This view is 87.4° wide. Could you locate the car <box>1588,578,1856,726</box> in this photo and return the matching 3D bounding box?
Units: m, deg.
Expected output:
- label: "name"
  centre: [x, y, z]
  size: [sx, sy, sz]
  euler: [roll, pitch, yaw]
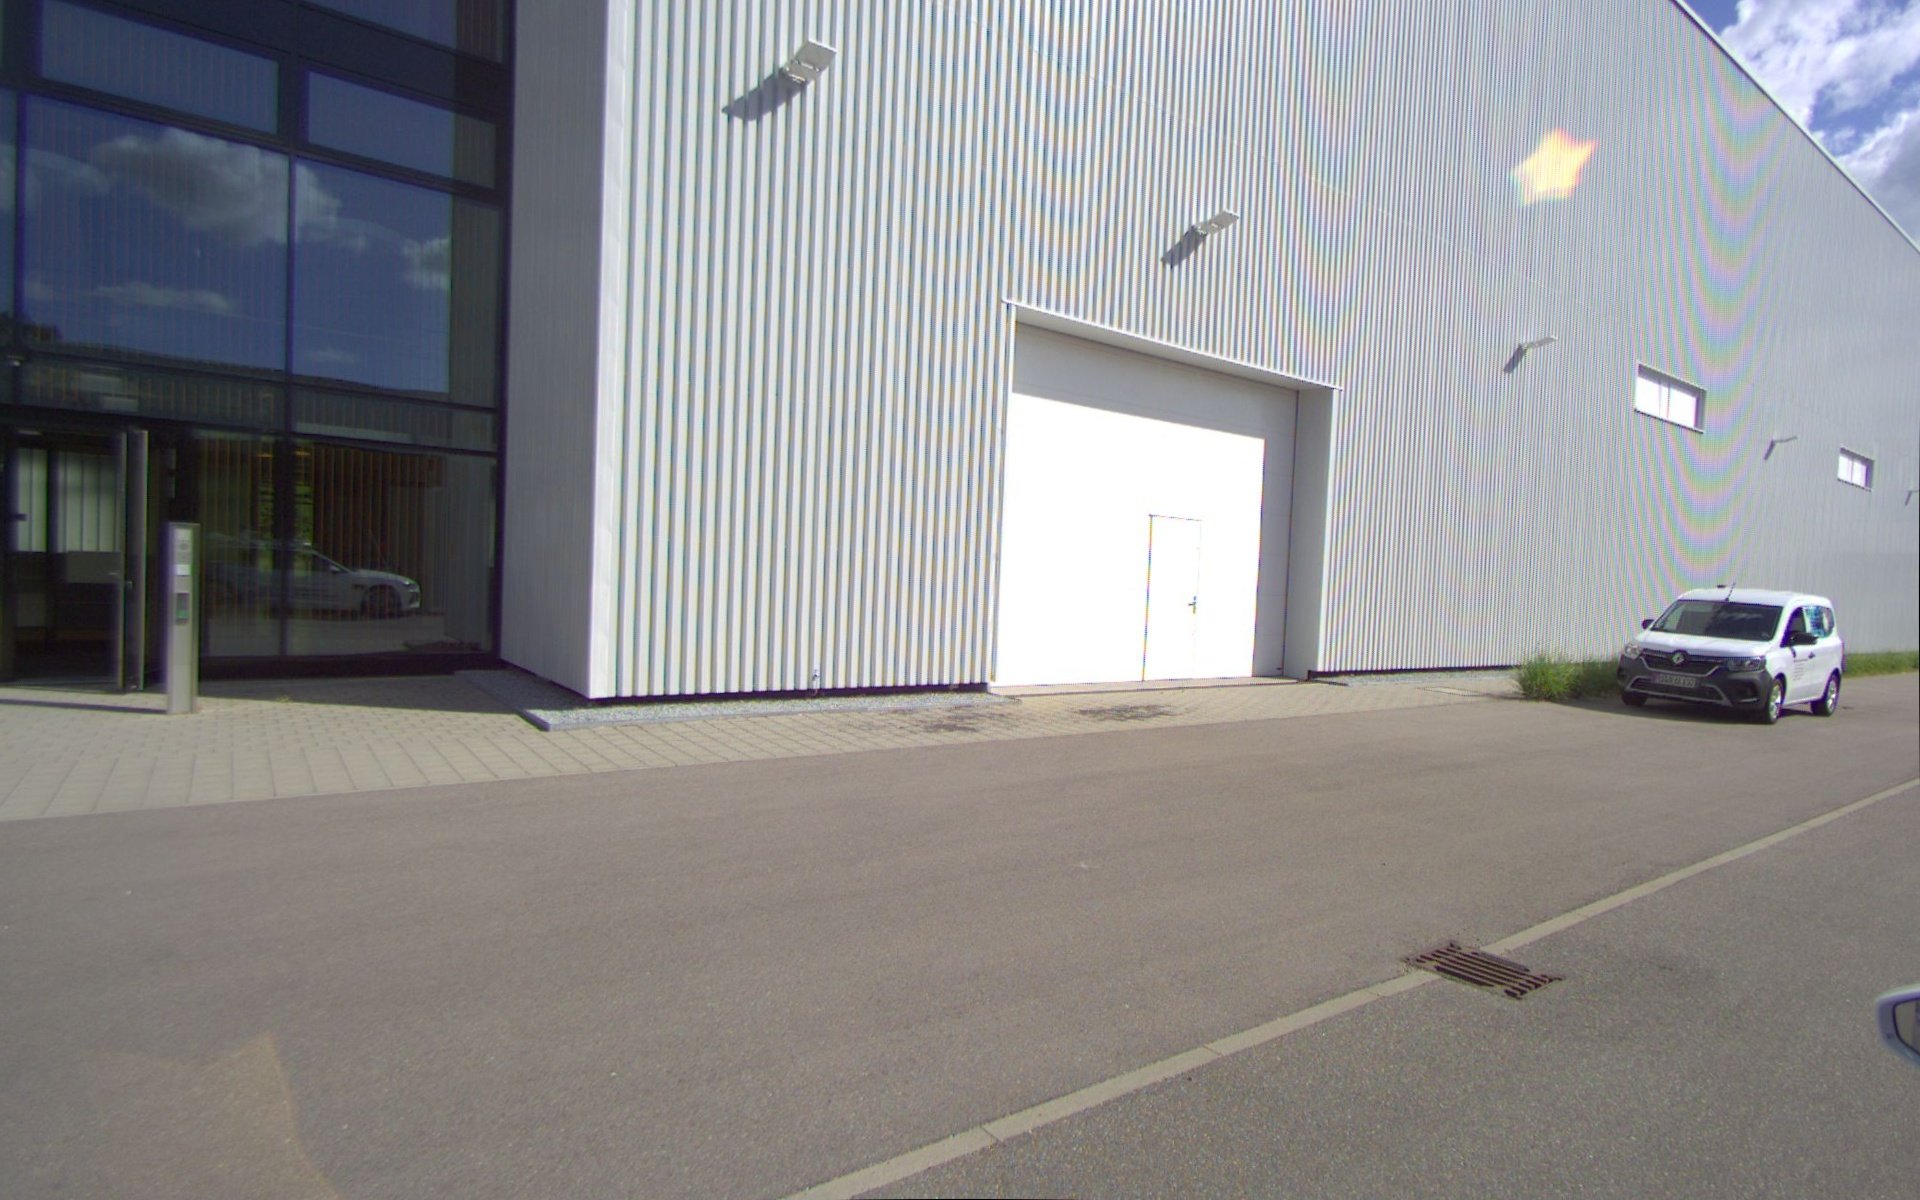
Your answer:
- label: "car"
  centre: [11.457, 0.697, 15.000]
  size: [4.555, 1.814, 1.914]
  euler: [1, 3, -37]
